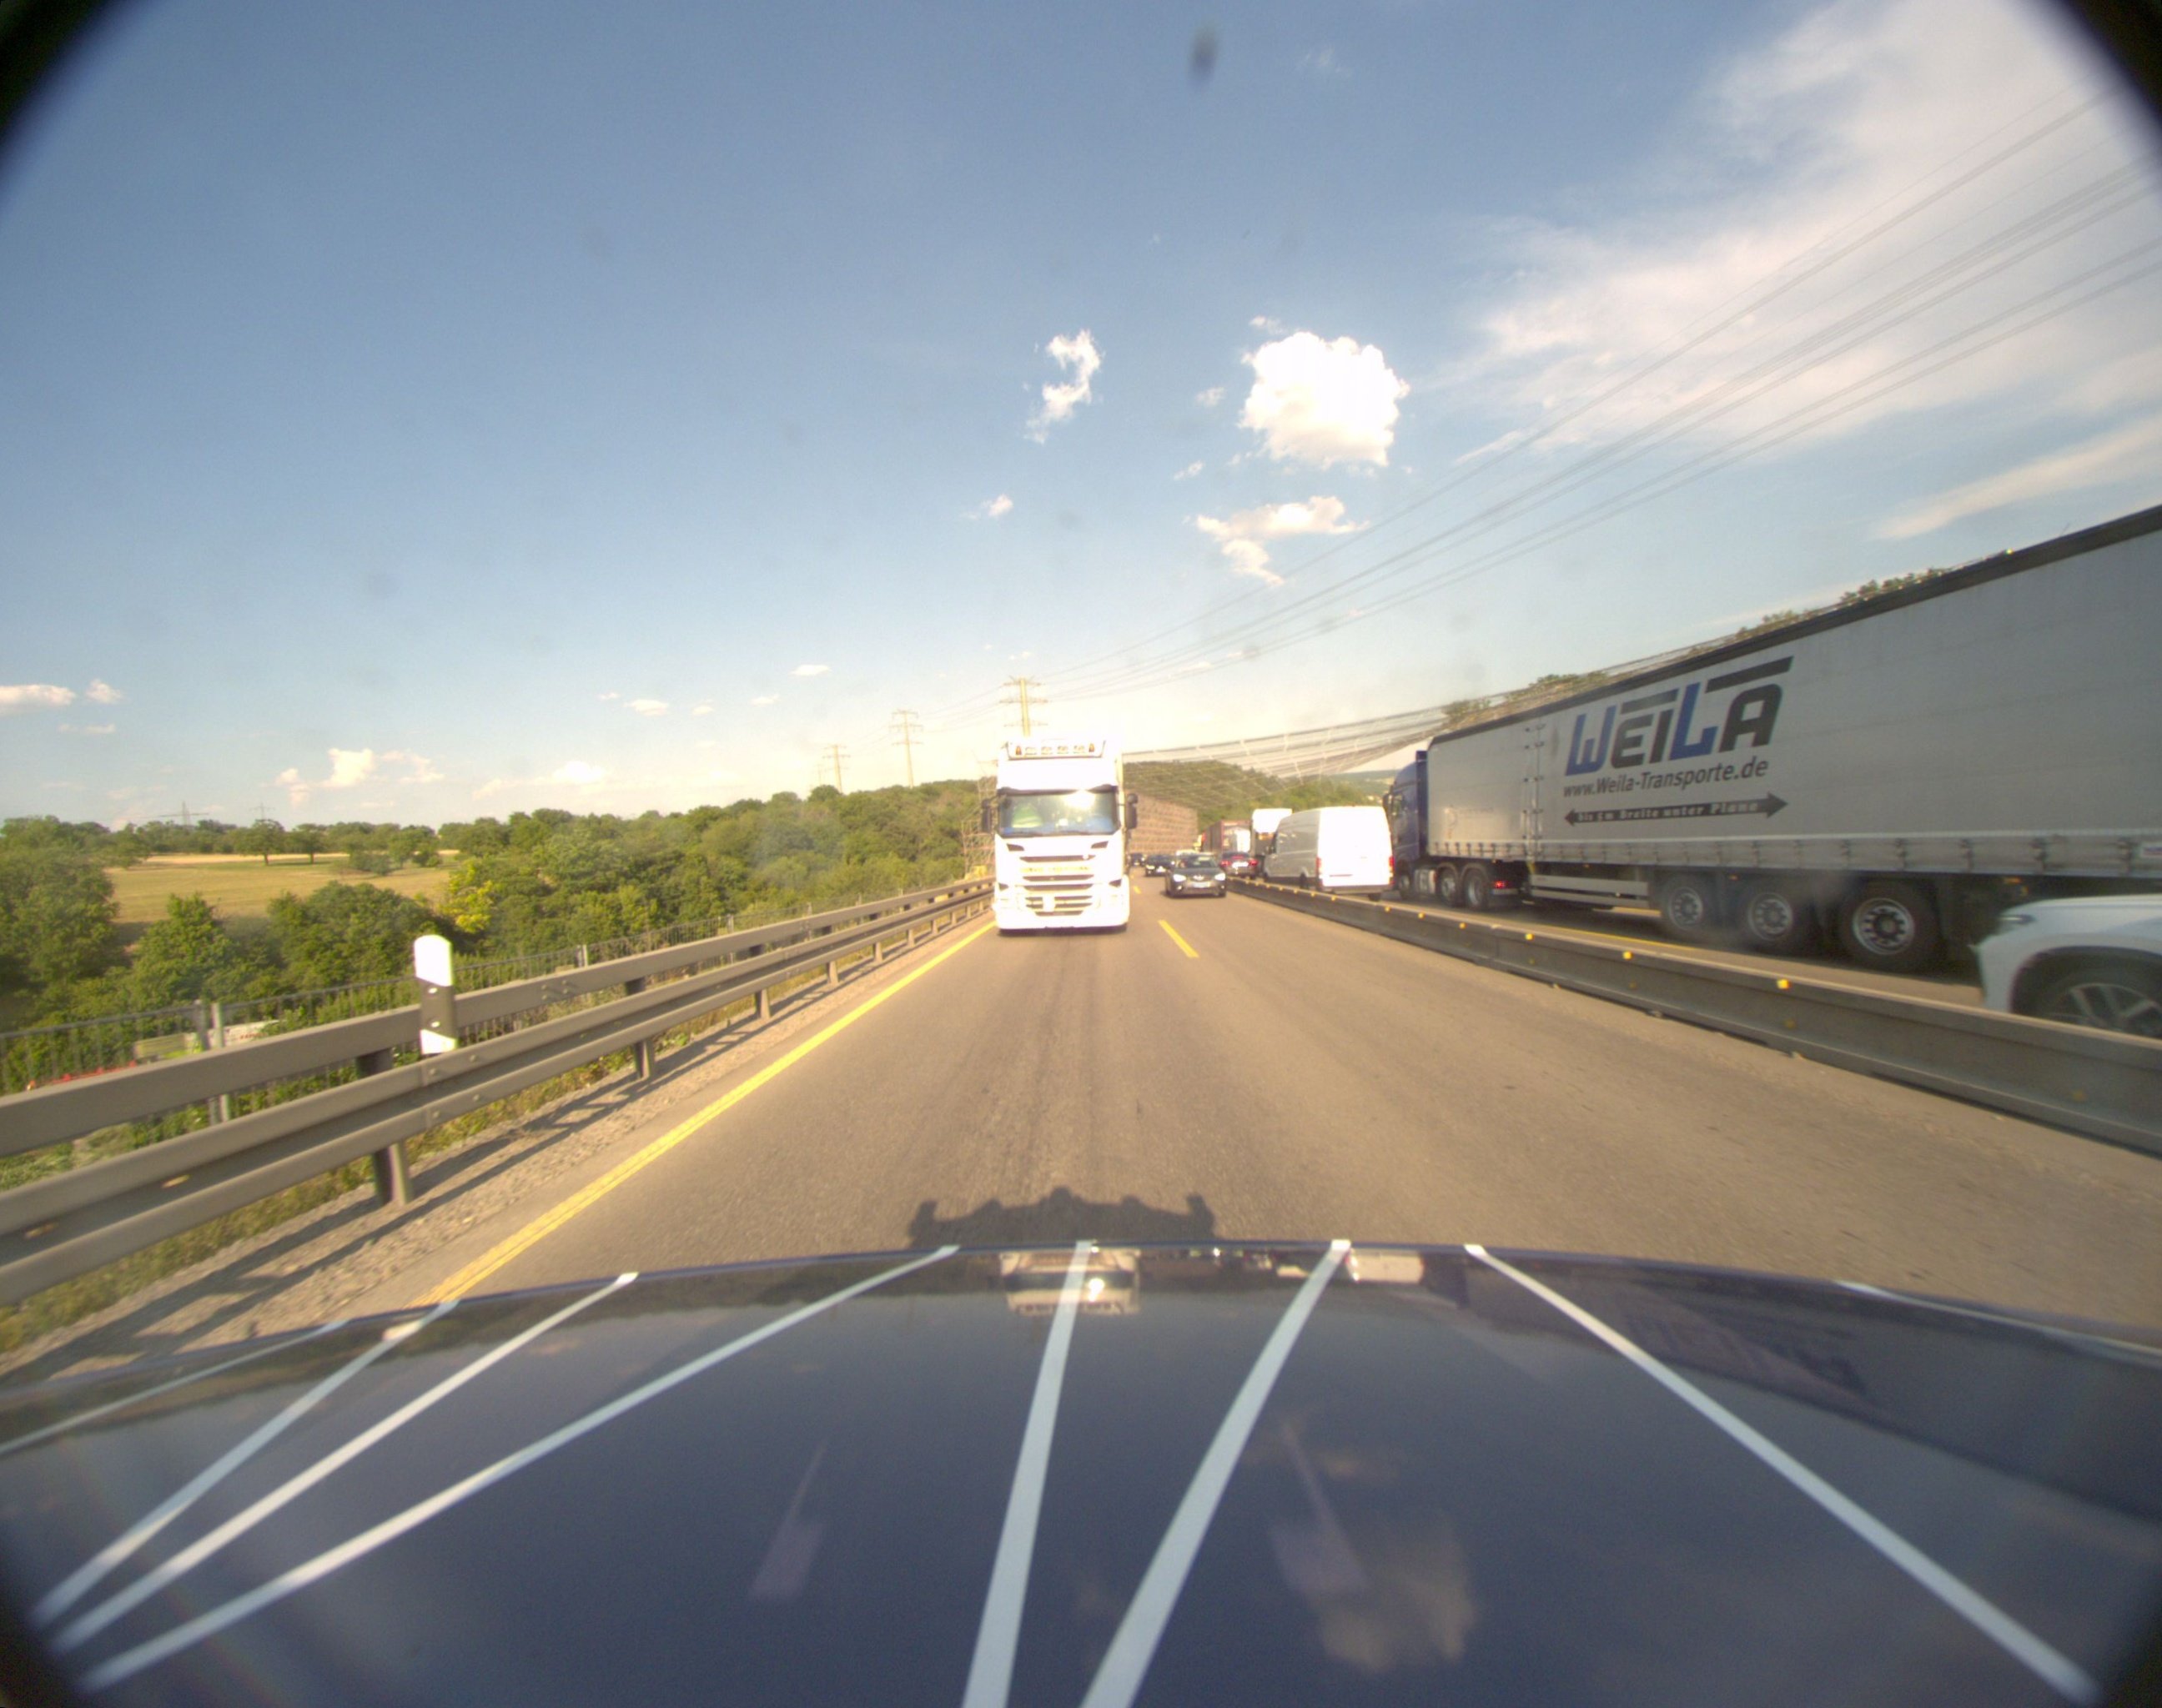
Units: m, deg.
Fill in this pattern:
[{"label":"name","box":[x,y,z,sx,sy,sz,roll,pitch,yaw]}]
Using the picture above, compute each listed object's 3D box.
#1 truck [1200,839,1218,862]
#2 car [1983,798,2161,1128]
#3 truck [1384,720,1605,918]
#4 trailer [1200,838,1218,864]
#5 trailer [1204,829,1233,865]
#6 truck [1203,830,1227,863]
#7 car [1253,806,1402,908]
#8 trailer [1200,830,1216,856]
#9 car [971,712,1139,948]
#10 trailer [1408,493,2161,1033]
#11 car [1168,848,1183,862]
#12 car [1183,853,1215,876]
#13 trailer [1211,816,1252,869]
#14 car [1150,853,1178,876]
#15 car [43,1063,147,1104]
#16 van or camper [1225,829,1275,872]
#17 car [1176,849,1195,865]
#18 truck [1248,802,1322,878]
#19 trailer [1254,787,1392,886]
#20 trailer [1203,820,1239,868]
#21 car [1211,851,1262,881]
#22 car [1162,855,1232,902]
[{"label":"truck","box":[18.931,-0.532,112.764,2.418,3.350,5.621,-1,1,9]},{"label":"car","box":[6.433,0.543,2.335,1.875,1.684,4.595,-1,0,0]},{"label":"truck","box":[9.695,-0.730,18.575,2.509,4.042,5.666,-1,1,3]},{"label":"trailer","box":[18.010,-0.461,107.069,2.311,3.342,12.059,-1,0,9]},{"label":"trailer","box":[15.601,-0.782,86.770,2.311,3.768,12.057,-1,0,6]},{"label":"truck","box":[16.300,-0.898,92.715,2.437,3.763,5.619,-1,1,6]},{"label":"car","box":[6.903,0.050,22.287,2.062,2.485,6.774,-1,0,-1]},{"label":"trailer","box":[20.871,-1.808,125.468,2.432,3.940,14.107,-1,0,9]},{"label":"car","box":[-0.399,-0.444,17.502,2.858,4.092,8.280,-1,0,1]},{"label":"trailer","box":[9.474,-0.753,12.145,2.312,4.106,14.600,-1,0,1]},{"label":"car","box":[13.541,0.166,109.090,1.821,1.914,4.837,-1,0,5]},{"label":"car","box":[8.335,0.693,54.058,1.763,1.499,4.255,-1,0,2]},{"label":"trailer","box":[12.768,-0.939,65.026,2.448,4.164,8.546,-1,0,5]},{"label":"car","box":[5.239,0.632,48.025,1.675,1.376,3.824,-1,0,7]},{"label":"car","box":[-82.993,19.259,64.037,1.703,1.824,5.140,-1,1,30]},{"label":"van or camper","box":[12.134,-0.246,55.107,2.413,2.874,7.619,-1,0,4]},{"label":"car","box":[11.429,0.336,83.218,1.760,1.685,4.455,-1,0,5]},{"label":"truck","box":[11.012,-0.726,41.607,2.607,3.732,6.518,-1,1,4]},{"label":"trailer","box":[10.730,-0.709,35.638,2.525,3.703,13.979,-1,0,2]},{"label":"trailer","box":[13.632,-0.973,74.459,2.481,4.303,10.514,-1,0,5]},{"label":"car","box":[7.688,0.562,38.054,1.763,1.370,4.768,-1,0,3]},{"label":"car","box":[3.744,0.742,25.121,1.764,1.376,3.822,-1,0,1]}]
